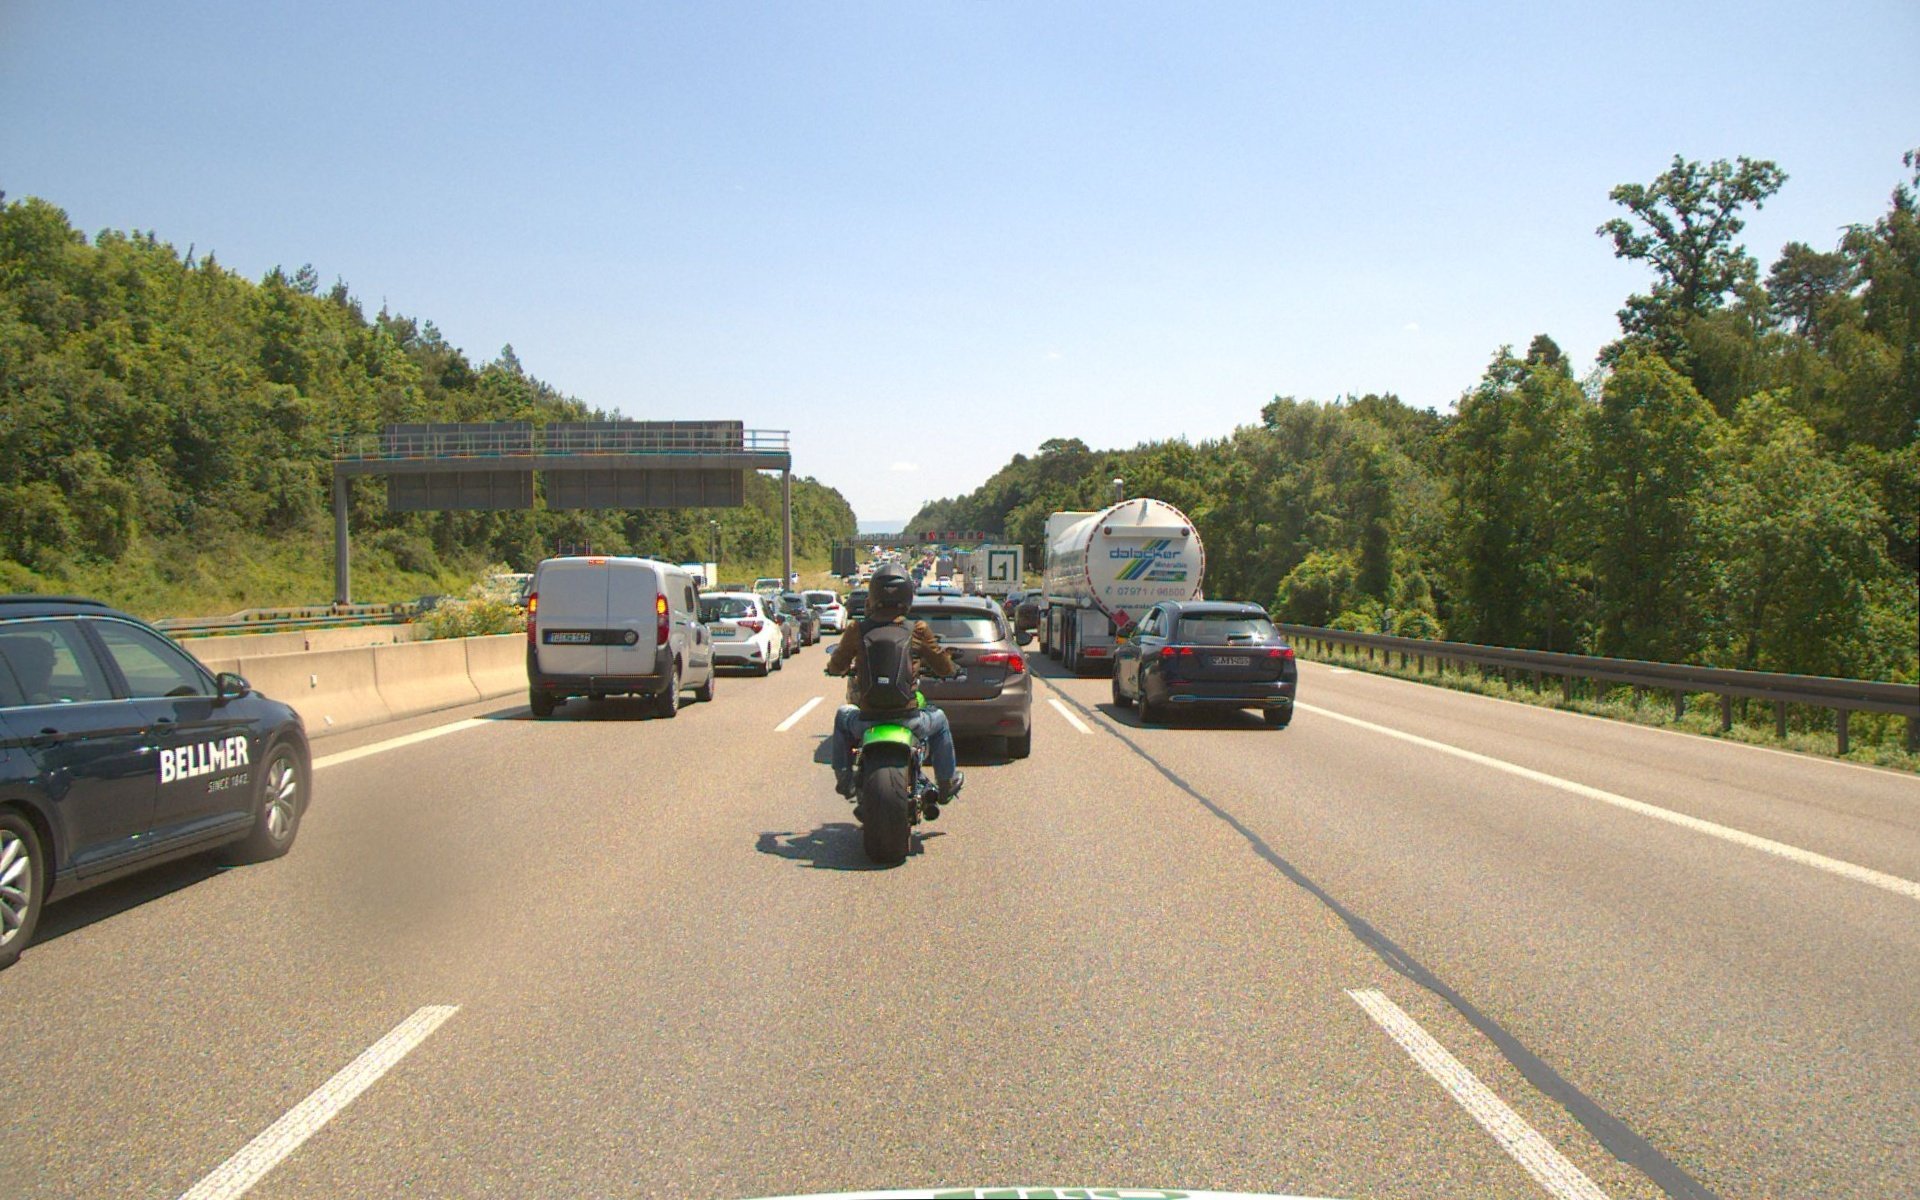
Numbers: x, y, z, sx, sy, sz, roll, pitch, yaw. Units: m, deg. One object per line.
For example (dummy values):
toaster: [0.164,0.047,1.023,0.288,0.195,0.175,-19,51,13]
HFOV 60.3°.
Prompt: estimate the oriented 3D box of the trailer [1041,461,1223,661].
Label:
trailer: [3.503,-0.672,36.522,2.770,3.735,10.730,1,-1,-1]

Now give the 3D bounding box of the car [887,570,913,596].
car: [-4.808,-1.387,133.462,1.953,2.049,3.999,0,0,-1]

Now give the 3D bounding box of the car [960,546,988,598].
car: [1.123,-2.262,137.941,2.123,3.961,9.328,1,-1,-1]

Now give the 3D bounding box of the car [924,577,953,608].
car: [-1.436,-0.481,110.855,1.953,2.049,3.999,0,0,-1]

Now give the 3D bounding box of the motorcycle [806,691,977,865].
motorcycle: [-0.383,1.031,10.132,0.917,0.807,2.298,1,0,-1]

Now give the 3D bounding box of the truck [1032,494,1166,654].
truck: [3.433,-0.576,42.240,2.770,3.735,6.428,1,-1,-1]

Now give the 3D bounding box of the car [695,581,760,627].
car: [-7.949,0.132,56.847,1.788,1.521,3.999,0,0,-2]

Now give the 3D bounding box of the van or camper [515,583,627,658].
van or camper: [-11.277,0.603,48.302,1.952,2.049,4.928,1,-1,1]

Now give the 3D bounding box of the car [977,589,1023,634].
car: [1.866,0.536,78.259,1.953,2.049,3.998,1,-1,-2]

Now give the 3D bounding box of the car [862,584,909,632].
car: [-3.302,0.375,73.822,1.953,2.049,3.999,1,-1,-1]

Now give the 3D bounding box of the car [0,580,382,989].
car: [-4.394,0.662,7.613,1.836,1.475,4.677,1,0,-1]

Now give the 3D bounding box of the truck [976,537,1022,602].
truck: [2.542,-1.858,105.209,2.794,3.888,7.189,1,-1,2]

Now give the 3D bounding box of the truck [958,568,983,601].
truck: [0.720,-1.017,112.492,1.558,2.148,3.752,1,-1,2]

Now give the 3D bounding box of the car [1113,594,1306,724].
car: [3.108,0.716,21.498,1.755,1.484,4.623,1,-1,-1]

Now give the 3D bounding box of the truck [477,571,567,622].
truck: [-18.734,-0.089,71.124,2.304,2.049,6.489,1,-1,-2]

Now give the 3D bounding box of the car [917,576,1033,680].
car: [0.206,0.500,29.920,1.953,1.741,3.998,1,-1,-2]

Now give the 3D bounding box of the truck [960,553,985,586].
truck: [1.337,-3.346,184.875,2.641,3.465,10.476,0,0,-1]

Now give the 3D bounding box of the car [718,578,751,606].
car: [-15.877,-0.565,116.567,1.748,1.870,4.292,1,-1,-1]

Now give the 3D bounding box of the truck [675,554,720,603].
truck: [-22.850,-1.835,144.460,2.637,4.059,7.988,1,-1,-1]

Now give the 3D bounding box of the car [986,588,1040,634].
car: [1.880,0.412,59.415,1.740,1.554,3.999,1,-1,-1]

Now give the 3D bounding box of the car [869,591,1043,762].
car: [-0.054,0.669,16.516,1.509,1.475,3.999,1,0,-1]

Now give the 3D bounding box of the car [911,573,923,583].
car: [-6.767,-3.507,261.243,1.734,1.583,3.999,0,0,-1]

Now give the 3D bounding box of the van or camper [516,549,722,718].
van or camper: [-4.239,0.356,21.281,1.815,1.913,4.560,1,1,-2]

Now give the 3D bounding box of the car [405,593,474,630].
car: [-22.092,0.503,70.289,1.891,1.511,3.541,1,-1,-2]

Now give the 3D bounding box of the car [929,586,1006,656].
car: [0.165,0.580,45.161,1.953,1.806,3.998,1,-1,-2]

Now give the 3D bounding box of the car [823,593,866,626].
car: [-5.442,0.461,78.199,1.728,1.467,3.999,1,-1,0]

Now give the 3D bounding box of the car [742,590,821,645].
car: [-5.041,0.503,47.065,1.953,1.490,3.998,1,-1,-2]

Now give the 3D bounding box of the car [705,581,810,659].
car: [-4.713,0.469,39.072,1.953,1.713,4.329,1,-1,-1]

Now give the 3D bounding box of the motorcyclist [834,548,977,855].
motorcyclist: [-0.311,0.579,9.820,0.782,1.717,1.016,1,-1,-1]

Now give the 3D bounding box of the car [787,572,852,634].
car: [-4.842,0.111,57.490,1.953,2.049,3.999,1,-1,-1]

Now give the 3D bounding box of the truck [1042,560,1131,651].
truck: [4.455,0.170,59.624,2.340,3.031,8.250,1,0,-2]

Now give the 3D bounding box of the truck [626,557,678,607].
truck: [-19.303,-1.080,103.900,2.133,2.935,6.740,1,-1,-1]

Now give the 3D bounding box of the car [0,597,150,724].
car: [-14.512,0.871,25.273,1.952,1.794,4.452,1,-1,1]

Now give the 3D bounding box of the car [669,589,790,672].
car: [-4.268,0.560,31.180,1.740,1.435,3.999,1,-1,-1]

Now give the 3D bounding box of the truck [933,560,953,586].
truck: [-2.416,-3.826,234.107,2.641,3.465,10.476,0,0,-1]
